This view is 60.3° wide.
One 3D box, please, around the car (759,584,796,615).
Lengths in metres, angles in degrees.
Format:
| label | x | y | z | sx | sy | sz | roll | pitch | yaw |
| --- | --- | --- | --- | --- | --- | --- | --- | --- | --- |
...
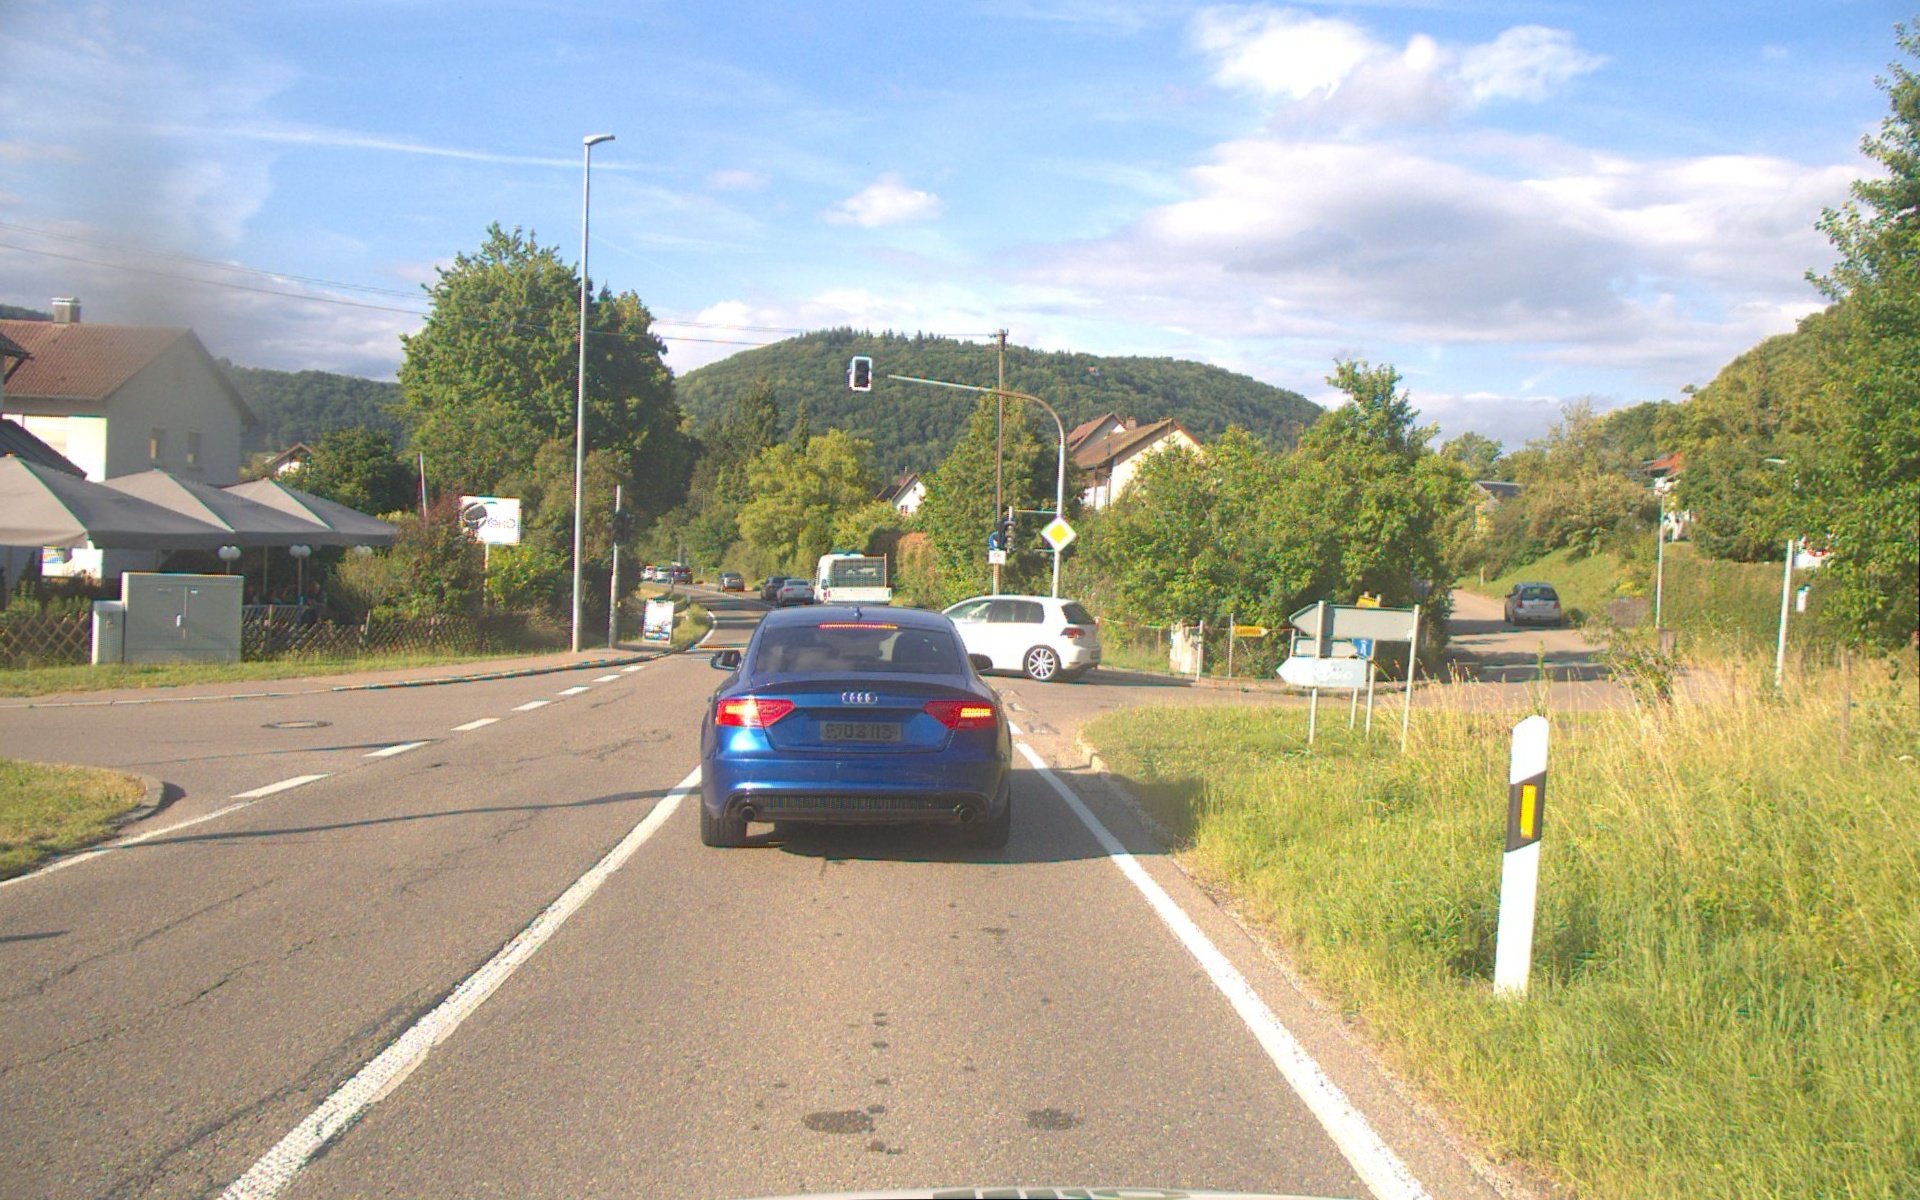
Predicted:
| label | x | y | z | sx | sy | sz | roll | pitch | yaw |
| --- | --- | --- | --- | --- | --- | --- | --- | --- | --- |
| car | -11.143 | -0.067 | 100.707 | 1.765 | 1.825 | 3.987 | 0 | 1 | -13 |

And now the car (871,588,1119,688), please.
| label | x | y | z | sx | sy | sz | roll | pitch | yaw |
| --- | --- | --- | --- | --- | --- | --- | --- | --- | --- |
| car | 0.637 | 0.651 | 30.020 | 4.076 | 1.439 | 1.777 | 4 | 1 | 21 |

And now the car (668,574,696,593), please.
| label | x | y | z | sx | sy | sz | roll | pitch | yaw |
| --- | --- | --- | --- | --- | --- | --- | --- | --- | --- |
| car | -25.673 | -1.526 | 152.587 | 2.008 | 1.713 | 3.982 | 0 | 1 | -17 |

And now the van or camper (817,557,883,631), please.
| label | x | y | z | sx | sy | sz | roll | pitch | yaw |
| --- | --- | --- | --- | --- | --- | --- | --- | --- | --- |
| van or camper | -4.685 | -0.290 | 69.628 | 2.370 | 2.955 | 6.121 | 0 | 1 | -8 |

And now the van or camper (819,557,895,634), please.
| label | x | y | z | sx | sy | sz | roll | pitch | yaw |
| --- | --- | --- | --- | --- | --- | --- | --- | --- | --- |
| van or camper | -3.510 | -0.190 | 55.387 | 2.139 | 2.426 | 5.360 | 0 | 1 | -8 |

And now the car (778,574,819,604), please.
| label | x | y | z | sx | sy | sz | roll | pitch | yaw |
| --- | --- | --- | --- | --- | --- | --- | --- | --- | --- |
| car | -8.755 | -0.622 | 89.395 | 1.787 | 1.579 | 3.989 | 0 | 1 | -11 |

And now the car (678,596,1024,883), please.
| label | x | y | z | sx | sy | sz | roll | pitch | yaw |
| --- | --- | --- | --- | --- | --- | --- | --- | --- | --- |
| car | -0.688 | 0.717 | 10.713 | 1.793 | 1.433 | 4.224 | 0 | 1 | -4 |

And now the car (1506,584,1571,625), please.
| label | x | y | z | sx | sy | sz | roll | pitch | yaw |
| --- | --- | --- | --- | --- | --- | --- | --- | --- | --- |
| car | 22.033 | 0.196 | 63.124 | 1.951 | 1.490 | 4.003 | 1 | 0 | 14 |

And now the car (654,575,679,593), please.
| label | x | y | z | sx | sy | sz | roll | pitch | yaw |
| --- | --- | --- | --- | --- | --- | --- | --- | --- | --- |
| car | -28.667 | -1.550 | 161.389 | 1.911 | 1.713 | 3.981 | 0 | 1 | -17 |

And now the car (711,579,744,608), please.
| label | x | y | z | sx | sy | sz | roll | pitch | yaw |
| --- | --- | --- | --- | --- | --- | --- | --- | --- | --- |
| car | -17.500 | -0.523 | 124.389 | 1.961 | 2.048 | 3.984 | 1 | 2 | -16 |
